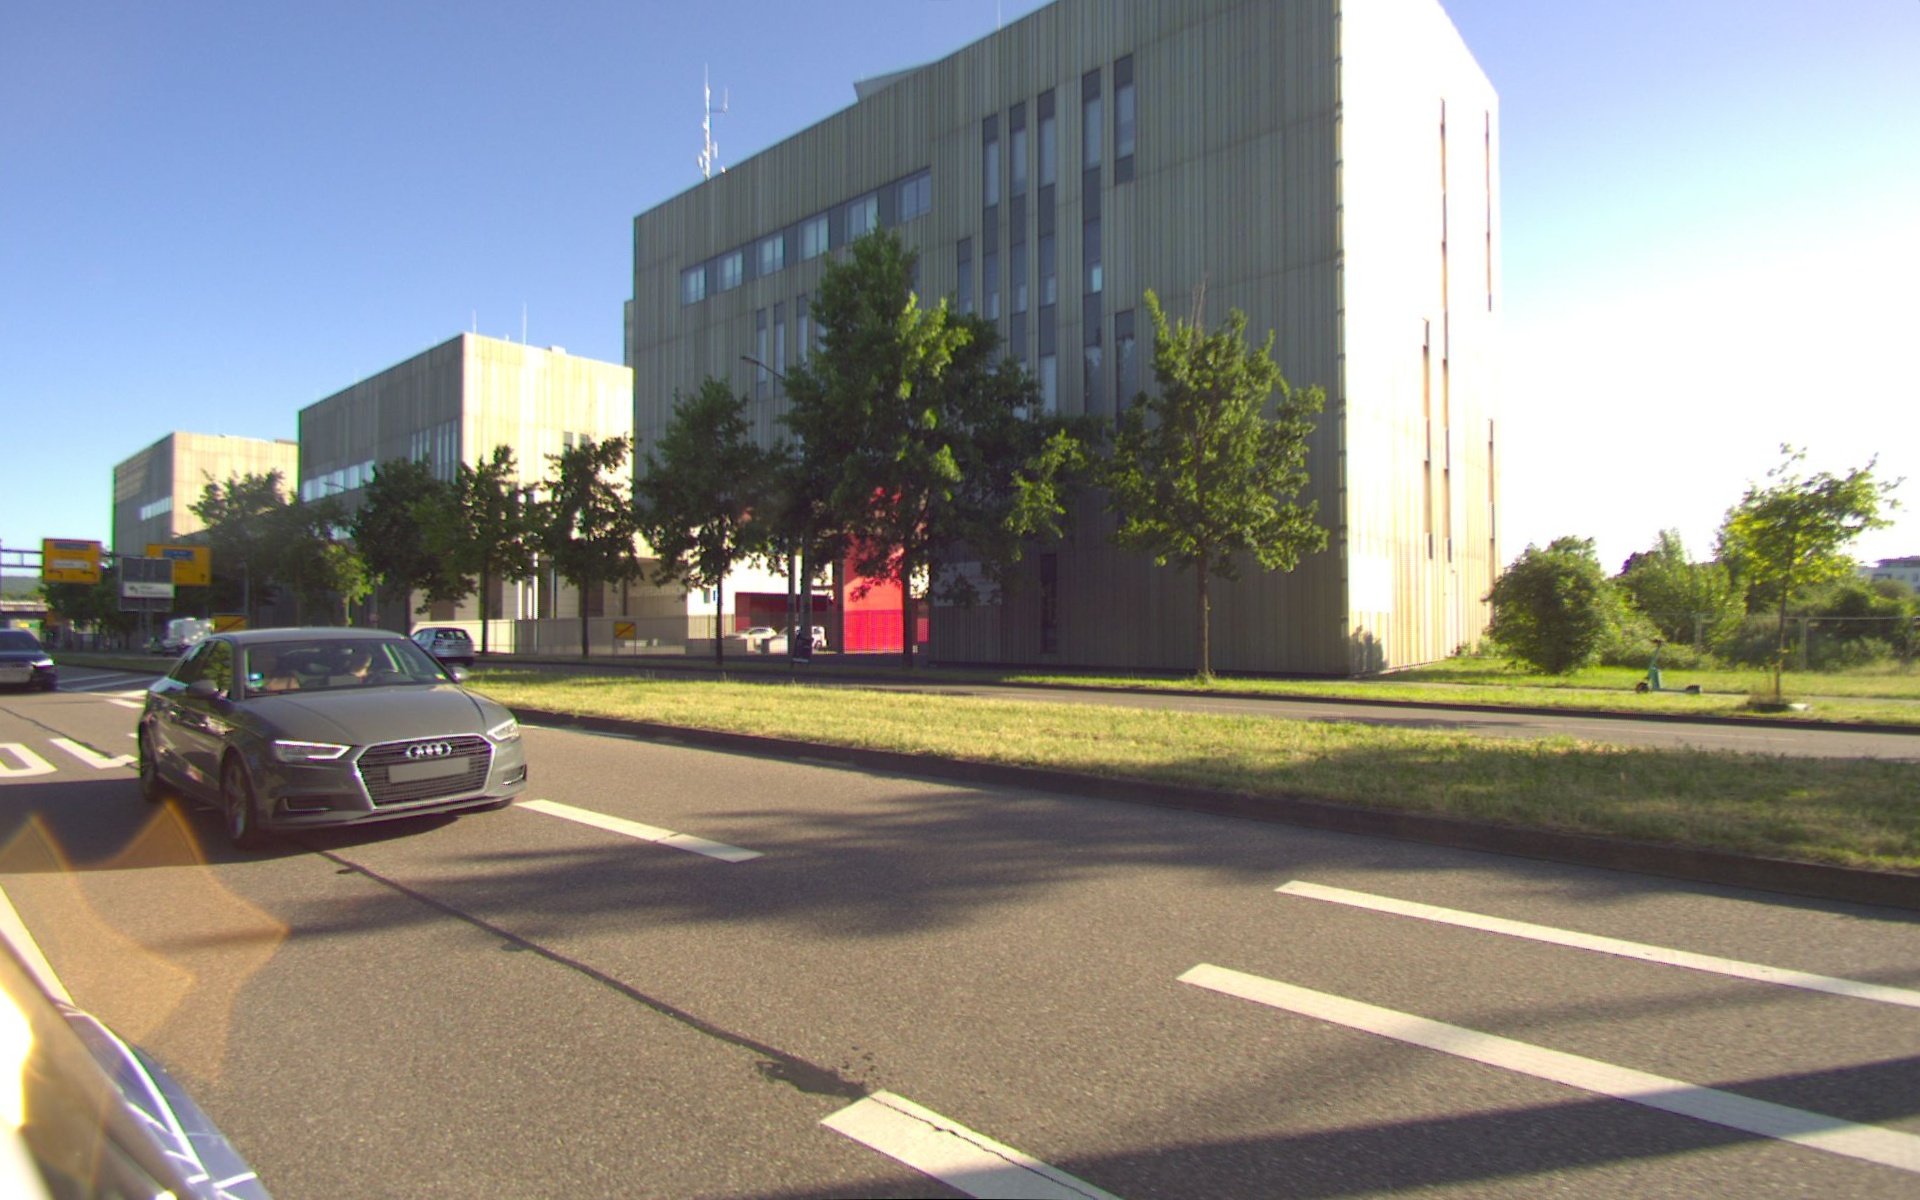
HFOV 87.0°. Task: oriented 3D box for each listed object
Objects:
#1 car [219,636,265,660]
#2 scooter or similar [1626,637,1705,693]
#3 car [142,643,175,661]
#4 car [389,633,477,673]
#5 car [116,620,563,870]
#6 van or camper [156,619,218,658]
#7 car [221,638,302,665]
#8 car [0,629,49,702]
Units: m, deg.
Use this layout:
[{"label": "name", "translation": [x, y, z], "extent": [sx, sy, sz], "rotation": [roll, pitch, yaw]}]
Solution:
[{"label": "car", "translation": [-48.582, 3.243, 68.461], "extent": [4.023, 1.519, 1.535], "rotation": [-3, -3, 40]}, {"label": "scooter or similar", "translation": [14.823, 1.354, 21.290], "extent": [1.327, 1.158, 0.229], "rotation": [-2, -2, 42]}, {"label": "car", "translation": [-66.546, 4.341, 84.009], "extent": [3.457, 1.447, 1.431], "rotation": [-3, -3, 40]}, {"label": "car", "translation": [-21.098, 2.096, 40.441], "extent": [4.045, 1.488, 1.671], "rotation": [-2, -3, 40]}, {"label": "car", "translation": [-4.972, 0.912, 7.836], "extent": [4.362, 1.415, 1.680], "rotation": [-3, -2, 40]}, {"label": "van or camper", "translation": [-50.175, 2.552, 65.614], "extent": [5.990, 2.387, 1.973], "rotation": [-3, -4, 41]}, {"label": "car", "translation": [-30.120, 2.195, 43.583], "extent": [4.170, 1.120, 1.809], "rotation": [-2, -3, 40]}, {"label": "car", "translation": [-22.292, 1.488, 23.182], "extent": [3.944, 1.549, 1.680], "rotation": [-3, -2, 41]}]
